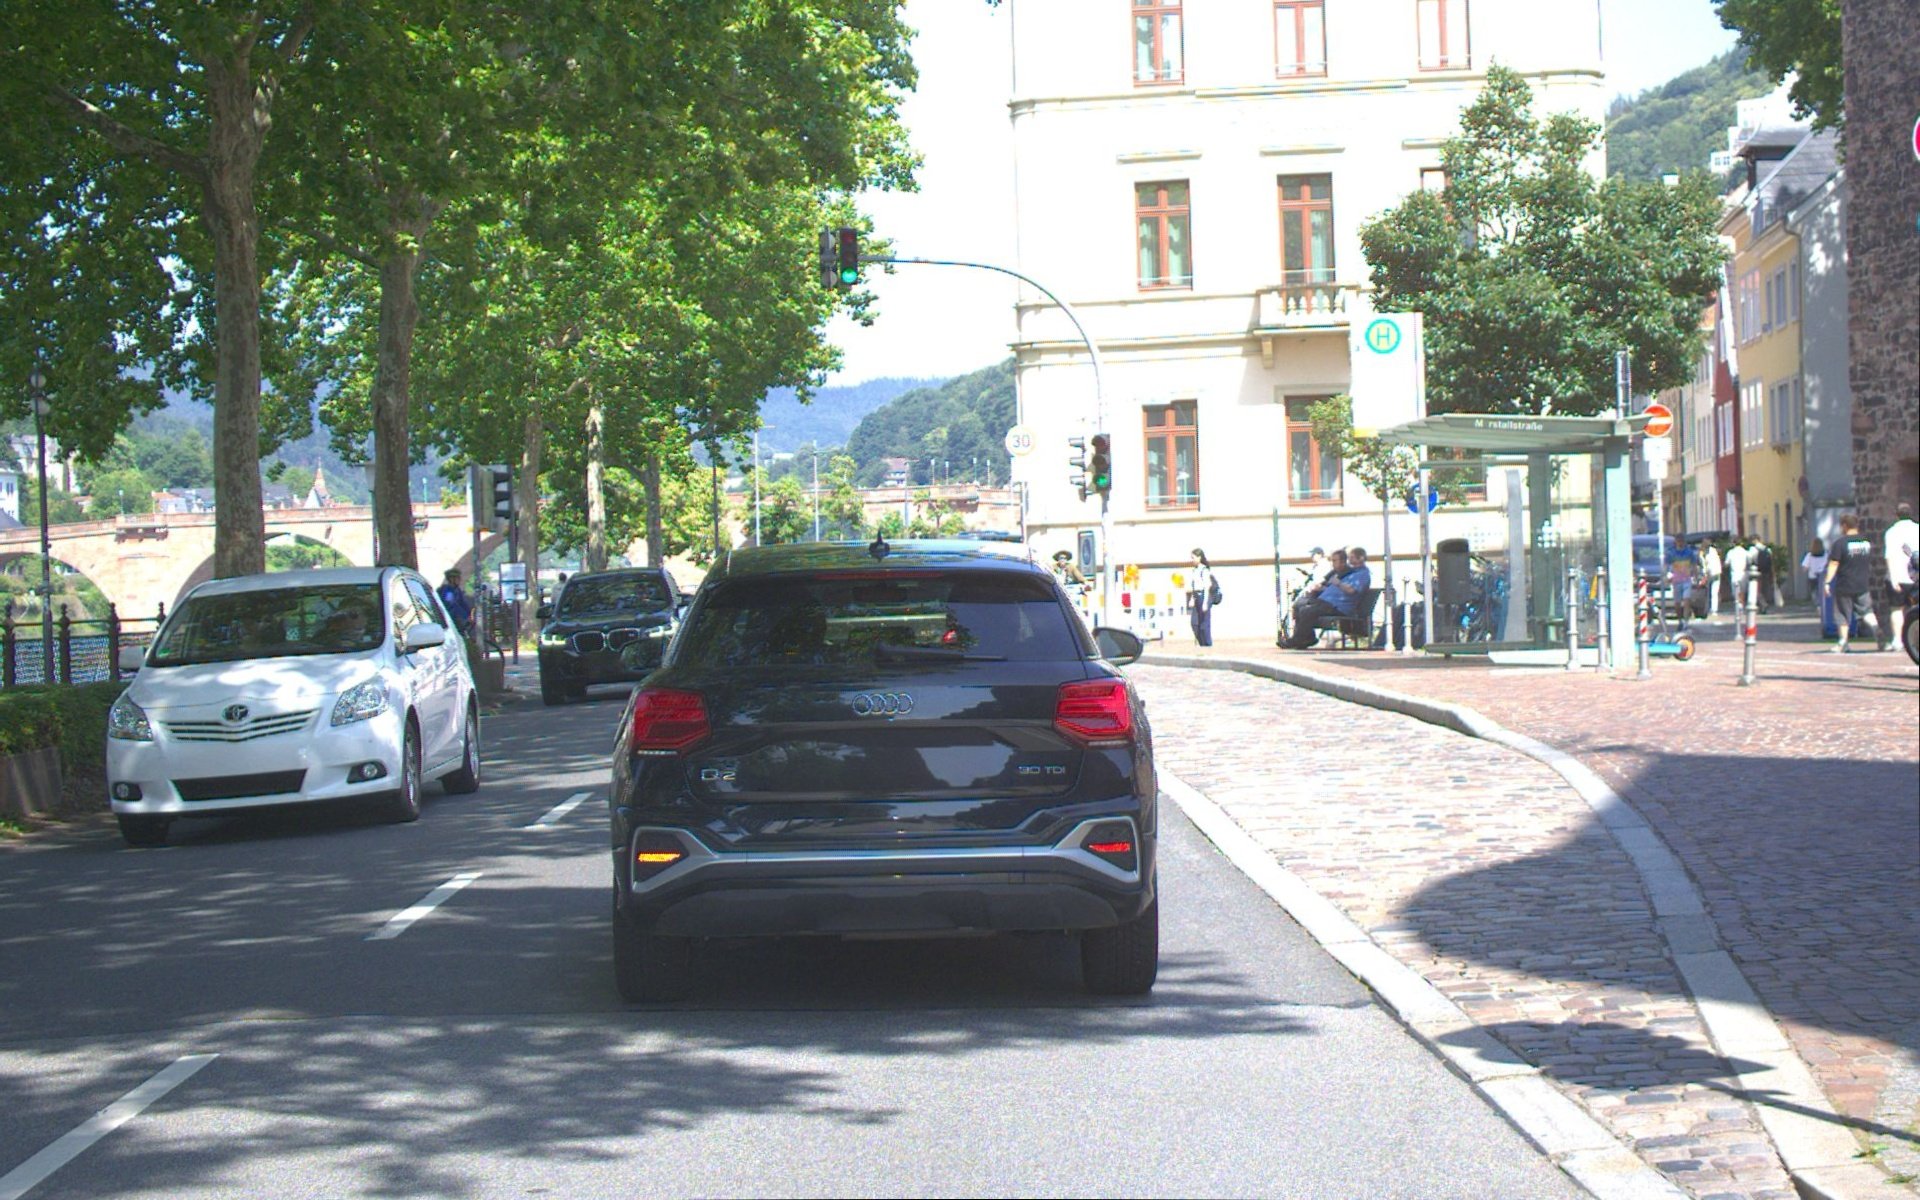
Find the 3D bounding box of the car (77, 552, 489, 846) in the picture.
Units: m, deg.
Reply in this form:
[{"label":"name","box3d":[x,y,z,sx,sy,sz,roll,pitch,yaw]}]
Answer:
[{"label":"car","box3d":[-4.199,0.548,21.943,1.738,1.567,4.092,-5,1,-1]}]

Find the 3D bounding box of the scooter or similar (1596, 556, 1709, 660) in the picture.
[{"label":"scooter or similar","box3d":[7.098,0.082,35.235,1.088,1.062,0.323,0,0,-2]}]

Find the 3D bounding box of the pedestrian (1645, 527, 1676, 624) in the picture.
[{"label":"pedestrian","box3d":[12.198,-0.426,59.844,0.449,1.675,0.466,0,0,3]}]

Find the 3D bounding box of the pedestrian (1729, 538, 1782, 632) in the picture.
[{"label":"pedestrian","box3d":[17.190,-0.315,74.288,0.940,2.007,0.807,0,0,0]}]

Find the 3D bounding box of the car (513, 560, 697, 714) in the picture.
[{"label":"car","box3d":[-4.594,0.436,45.058,1.813,1.719,4.422,-7,1,0]}]

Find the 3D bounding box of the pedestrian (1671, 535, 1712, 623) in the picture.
[{"label":"pedestrian","box3d":[12.724,-0.359,59.826,0.622,1.526,0.466,0,0,3]}]

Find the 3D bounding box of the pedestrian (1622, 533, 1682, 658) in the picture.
[{"label":"pedestrian","box3d":[7.723,-0.045,38.374,0.557,1.380,0.588,0,0,2]}]

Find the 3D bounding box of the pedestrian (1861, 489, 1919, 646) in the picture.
[{"label":"pedestrian","box3d":[11.383,-0.387,41.690,0.668,1.877,0.821,0,0,-2]}]

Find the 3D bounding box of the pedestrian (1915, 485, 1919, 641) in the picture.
[{"label":"pedestrian","box3d":[12.141,-0.452,42.062,0.668,1.913,0.821,0,0,-2]}]

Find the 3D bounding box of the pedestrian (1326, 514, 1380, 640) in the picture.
[{"label":"pedestrian","box3d":[6.303,-0.371,55.159,0.640,2.007,0.664,0,0,29]}]

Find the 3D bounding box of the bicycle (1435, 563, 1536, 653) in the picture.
[{"label":"bicycle","box3d":[6.595,0.099,43.144,1.303,1.124,0.179,0,0,-19]}]

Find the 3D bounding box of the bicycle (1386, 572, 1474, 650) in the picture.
[{"label":"bicycle","box3d":[6.195,0.149,45.312,1.184,1.012,0.179,0,0,-19]}]

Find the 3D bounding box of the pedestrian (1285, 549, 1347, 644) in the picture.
[{"label":"pedestrian","box3d":[4.632,-0.042,44.736,0.663,1.227,0.641,0,0,-6]}]

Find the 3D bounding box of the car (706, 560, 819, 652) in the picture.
[{"label":"car","box3d":[-4.002,0.123,70.154,1.993,1.800,4.000,0,0,1]}]

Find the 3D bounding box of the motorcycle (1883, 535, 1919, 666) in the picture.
[{"label":"motorcycle","box3d":[7.646,0.001,26.005,0.566,1.009,2.490,-2,1,-2]}]

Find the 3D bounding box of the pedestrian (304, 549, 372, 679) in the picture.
[{"label":"pedestrian","box3d":[-9.725,0.215,53.781,0.911,2.007,0.585,0,0,4]}]

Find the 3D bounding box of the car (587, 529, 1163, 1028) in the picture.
[{"label":"car","box3d":[-0.279,0.519,12.302,1.743,1.504,3.647,-1,1,-1]}]

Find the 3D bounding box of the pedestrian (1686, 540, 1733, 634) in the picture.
[{"label":"pedestrian","box3d":[16.170,-0.285,74.177,0.839,2.007,0.738,0,0,0]}]

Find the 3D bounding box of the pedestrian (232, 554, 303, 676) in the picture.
[{"label":"pedestrian","box3d":[-10.404,0.227,51.665,0.911,1.805,0.585,0,-1,4]}]

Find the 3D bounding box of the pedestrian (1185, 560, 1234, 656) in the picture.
[{"label":"pedestrian","box3d":[3.928,0.123,54.067,0.693,1.495,0.514,0,0,-4]}]

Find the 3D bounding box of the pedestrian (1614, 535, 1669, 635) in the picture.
[{"label":"pedestrian","box3d":[13.885,-0.300,70.054,0.944,2.007,0.807,0,0,0]}]

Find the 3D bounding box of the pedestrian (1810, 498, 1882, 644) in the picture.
[{"label":"pedestrian","box3d":[11.078,-0.366,43.010,0.652,1.796,0.847,0,0,-1]}]

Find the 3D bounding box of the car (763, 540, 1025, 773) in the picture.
[{"label":"car","box3d":[-0.474,0.374,25.444,1.793,1.589,3.399,1,1,-1]}]

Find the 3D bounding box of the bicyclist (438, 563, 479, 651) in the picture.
[{"label":"bicyclist","box3d":[-7.547,0.102,51.717,0.566,1.307,0.552,0,0,-5]}]

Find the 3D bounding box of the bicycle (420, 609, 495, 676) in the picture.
[{"label":"bicycle","box3d":[-7.555,0.636,51.695,1.093,1.003,0.304,0,-1,-7]}]

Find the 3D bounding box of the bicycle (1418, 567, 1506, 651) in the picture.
[{"label":"bicycle","box3d":[6.403,0.113,43.848,1.157,1.066,0.179,0,0,-19]}]

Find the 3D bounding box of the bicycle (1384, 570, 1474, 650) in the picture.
[{"label":"bicycle","box3d":[6.084,0.132,44.561,1.201,1.032,0.179,0,0,-19]}]

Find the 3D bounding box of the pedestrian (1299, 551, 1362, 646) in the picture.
[{"label":"pedestrian","box3d":[4.739,-0.018,43.983,0.663,1.207,0.641,0,0,-6]}]

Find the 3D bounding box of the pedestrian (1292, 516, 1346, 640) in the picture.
[{"label":"pedestrian","box3d":[5.834,-0.358,55.869,0.640,2.007,0.664,0,0,29]}]

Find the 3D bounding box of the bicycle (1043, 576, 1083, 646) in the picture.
[{"label":"bicycle","box3d":[1.623,0.175,54.313,0.437,1.082,1.677,0,0,-5]}]

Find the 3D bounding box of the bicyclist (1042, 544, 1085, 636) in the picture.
[{"label":"bicyclist","box3d":[1.630,-0.162,54.353,0.605,1.445,0.591,0,0,-5]}]
